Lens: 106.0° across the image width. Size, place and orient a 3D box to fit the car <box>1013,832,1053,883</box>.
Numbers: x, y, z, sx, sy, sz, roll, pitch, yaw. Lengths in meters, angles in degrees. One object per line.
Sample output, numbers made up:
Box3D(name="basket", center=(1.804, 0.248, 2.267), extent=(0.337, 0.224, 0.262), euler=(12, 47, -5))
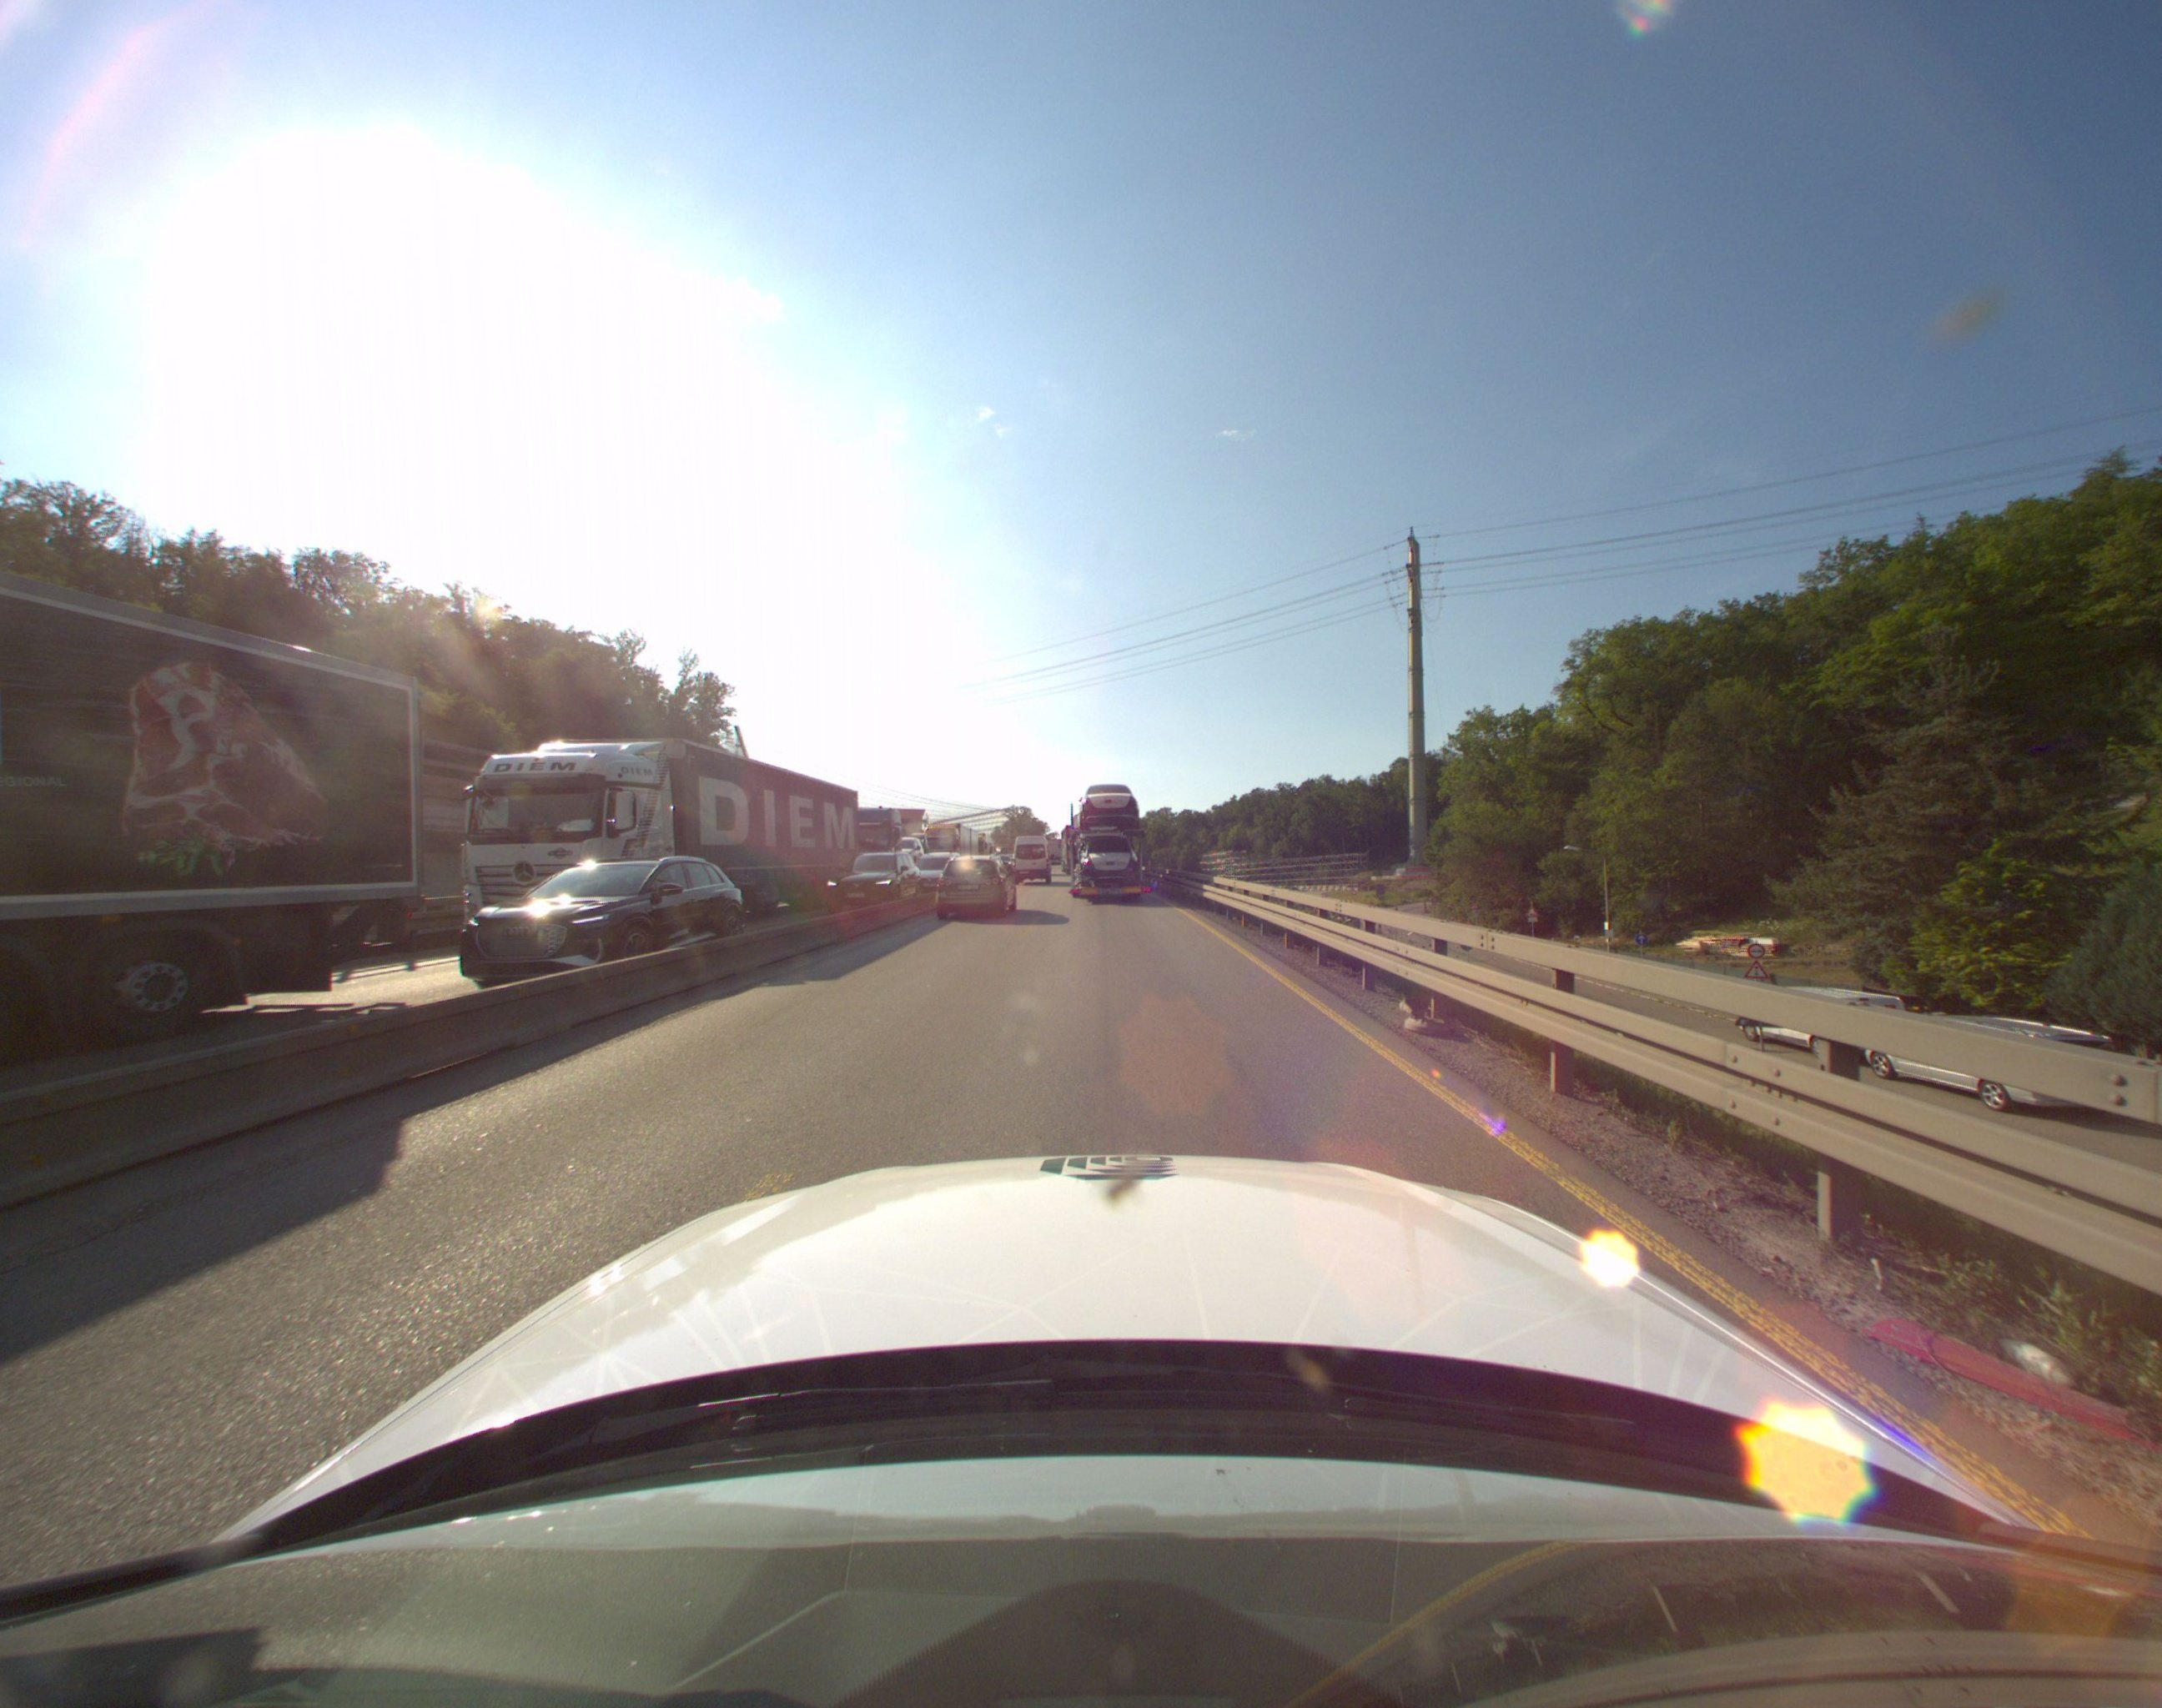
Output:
Box3D(name="car", center=(-2.638, 0.230, 45.649), extent=(1.973, 2.684, 4.145), euler=(-2, -1, -1))

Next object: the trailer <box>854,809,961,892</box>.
Box3D(name="trailer", center=(-9.396, -0.106, 46.612), extent=(2.741, 3.816, 16.039), euler=(-3, -1, -1))

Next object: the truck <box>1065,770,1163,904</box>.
Box3D(name="truck", center=(1.009, -0.473, 27.689), extent=(2.861, 3.980, 5.770), euler=(-2, -1, 0))

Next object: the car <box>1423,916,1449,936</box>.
Box3D(name="car", center=(32.863, 6.661, 75.511), extent=(1.515, 1.461, 4.284), euler=(-2, -1, 14))

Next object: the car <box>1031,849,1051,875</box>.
Box3D(name="car", center=(-3.324, 0.690, 67.475), extent=(1.525, 2.014, 3.995), euler=(1, -1, -3))

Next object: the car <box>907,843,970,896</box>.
Box3D(name="car", center=(-5.955, 0.658, 34.572), extent=(1.819, 1.933, 5.125), euler=(-4, -1, -2))

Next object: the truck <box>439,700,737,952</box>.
Box3D(name="truck", center=(-9.337, -0.451, 16.187), extent=(2.741, 4.115, 5.028), euler=(-3, -1, -1))

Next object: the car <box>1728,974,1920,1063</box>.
Box3D(name="car", center=(23.036, 5.029, 25.600), extent=(1.852, 1.986, 5.063), euler=(-2, -3, 8))

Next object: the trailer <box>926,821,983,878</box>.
Box3D(name="trailer", center=(-10.313, -0.199, 68.393), extent=(2.708, 4.135, 16.735), euler=(-2, -1, -2))

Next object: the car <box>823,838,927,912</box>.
Box3D(name="car", center=(-6.042, 0.634, 24.511), extent=(1.827, 1.963, 4.898), euler=(-1, -1, 0))

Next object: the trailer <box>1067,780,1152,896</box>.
Box3D(name="trailer", center=(0.990, -0.433, 36.234), extent=(2.865, 3.994, 15.275), euler=(-2, -1, 0))

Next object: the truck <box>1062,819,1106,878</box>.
Box3D(name="truck", center=(0.074, -0.511, 71.054), extent=(3.220, 4.677, 11.684), euler=(-1, 0, -2))

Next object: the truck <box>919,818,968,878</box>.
Box3D(name="truck", center=(-9.946, -0.365, 59.438), extent=(2.695, 4.141, 5.788), euler=(-2, -1, -3))

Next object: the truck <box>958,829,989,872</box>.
Box3D(name="truck", center=(-10.863, -0.349, 82.802), extent=(2.688, 4.197, 4.391), euler=(-2, -1, -4))

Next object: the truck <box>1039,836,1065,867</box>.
Box3D(name="truck", center=(-4.732, -0.395, 130.847), extent=(3.641, 4.677, 11.679), euler=(-1, 0, -4))

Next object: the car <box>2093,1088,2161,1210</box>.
Box3D(name="car", center=(17.385, 4.621, 11.220), extent=(1.658, 1.662, 4.481), euler=(-2, -3, 9))

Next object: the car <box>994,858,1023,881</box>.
Box3D(name="car", center=(-5.548, 1.209, 62.857), extent=(1.954, 1.645, 4.844), euler=(-2, -1, -2))

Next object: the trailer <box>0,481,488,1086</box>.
Box3D(name="trailer", center=(-9.386, -0.492, 7.215), extent=(2.901, 4.466, 7.154), euler=(-1, -1, 1))

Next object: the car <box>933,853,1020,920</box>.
Box3D(name="car", center=(-2.683, 0.822, 21.780), extent=(1.695, 1.587, 4.146), euler=(-2, -1, 0))

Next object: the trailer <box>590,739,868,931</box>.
Box3D(name="trailer", center=(-9.371, -0.367, 24.169), extent=(2.706, 4.122, 12.489), euler=(-3, -1, 0))

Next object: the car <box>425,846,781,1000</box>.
Box3D(name="car", center=(-6.307, 0.803, 11.741), extent=(1.870, 1.605, 5.368), euler=(-3, -1, 0))

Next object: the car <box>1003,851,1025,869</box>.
Box3D(name="car", center=(-6.517, 0.605, 79.935), extent=(1.922, 1.701, 4.687), euler=(-2, -1, -2))

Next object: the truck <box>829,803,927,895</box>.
Box3D(name="truck", center=(-9.271, -0.184, 38.000), extent=(2.741, 3.805, 7.108), euler=(-3, -1, -1))

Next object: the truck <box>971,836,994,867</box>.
Box3D(name="truck", center=(-13.807, -0.203, 115.092), extent=(2.805, 3.970, 13.864), euler=(0, -1, -6))

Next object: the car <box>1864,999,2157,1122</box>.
Box3D(name="car", center=(21.931, 4.789, 19.627), extent=(1.983, 1.917, 4.877), euler=(-2, -3, 11))
